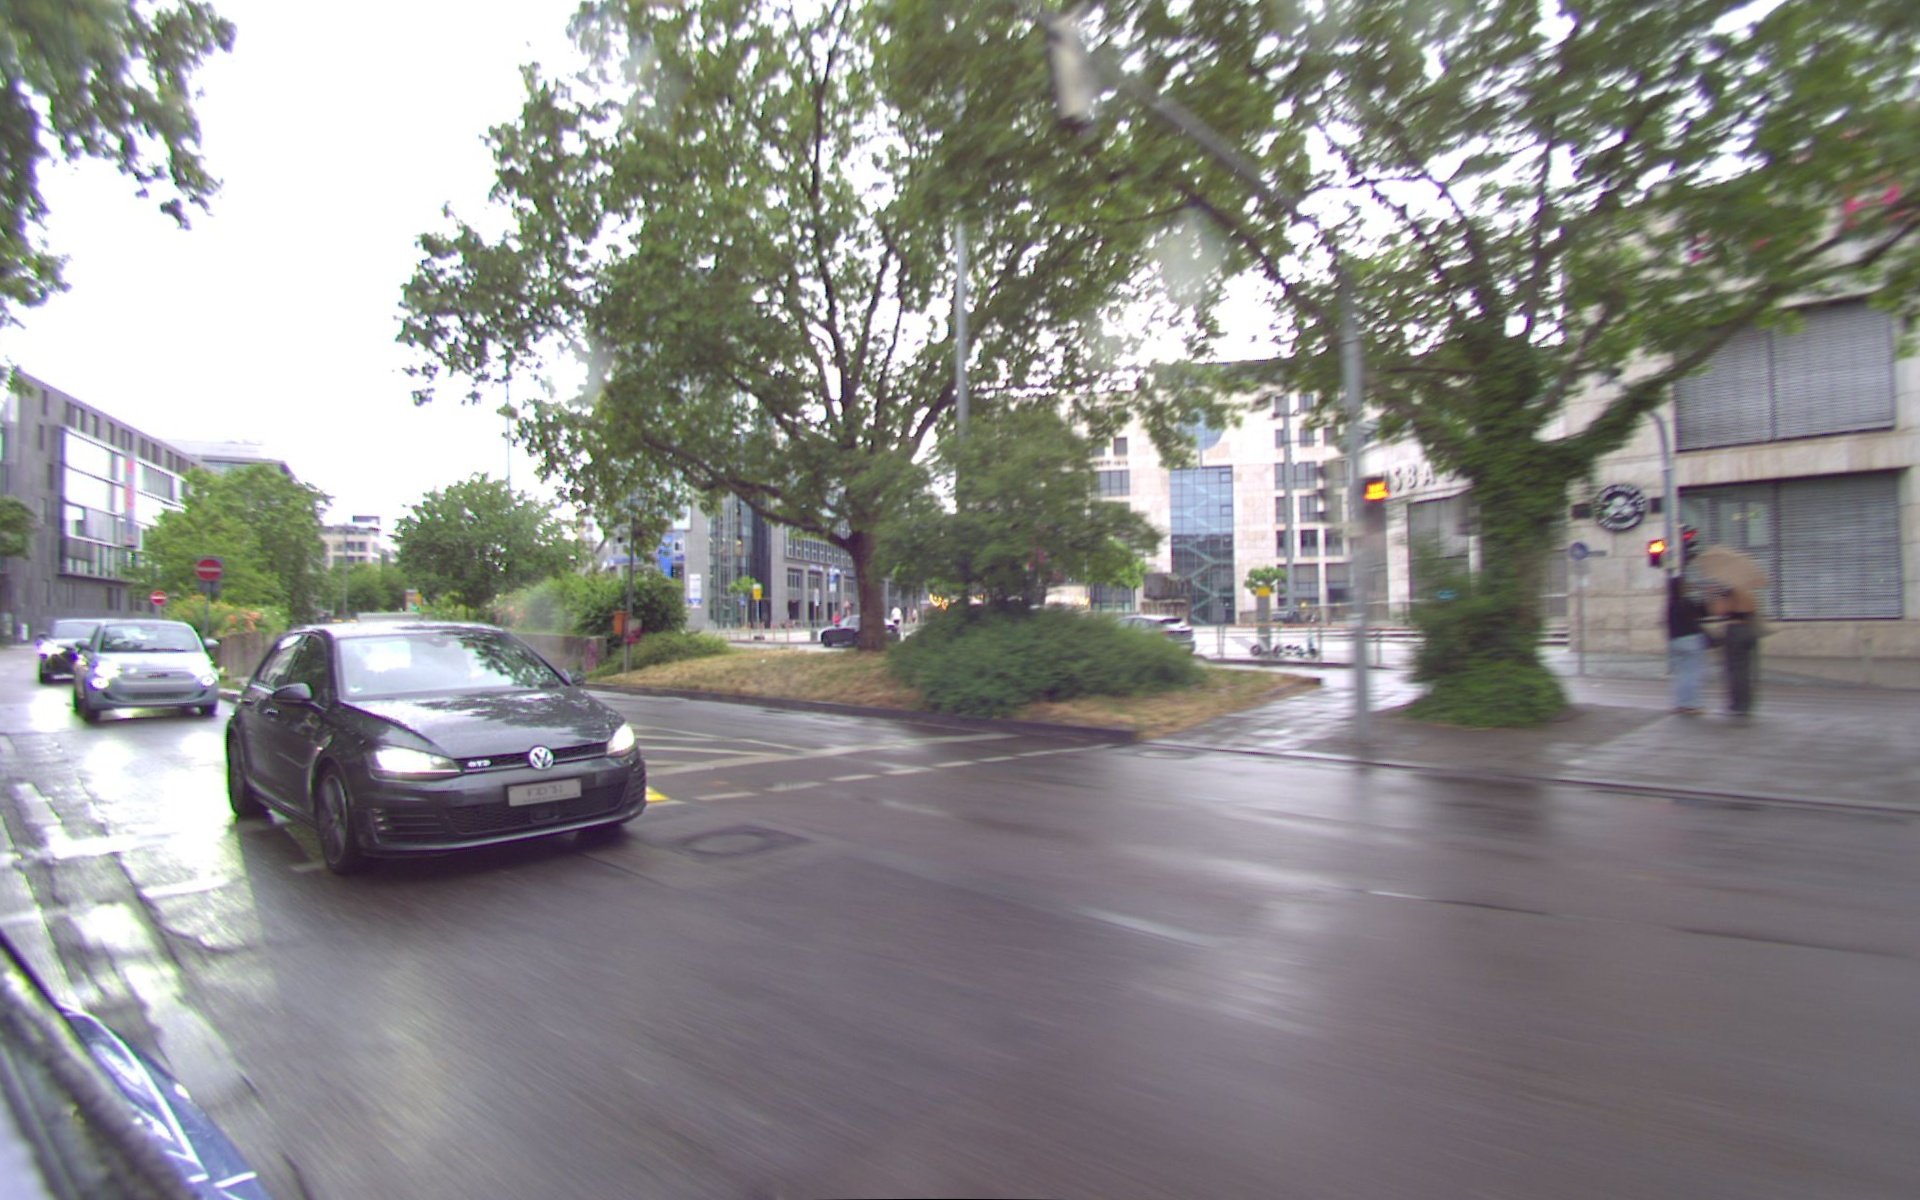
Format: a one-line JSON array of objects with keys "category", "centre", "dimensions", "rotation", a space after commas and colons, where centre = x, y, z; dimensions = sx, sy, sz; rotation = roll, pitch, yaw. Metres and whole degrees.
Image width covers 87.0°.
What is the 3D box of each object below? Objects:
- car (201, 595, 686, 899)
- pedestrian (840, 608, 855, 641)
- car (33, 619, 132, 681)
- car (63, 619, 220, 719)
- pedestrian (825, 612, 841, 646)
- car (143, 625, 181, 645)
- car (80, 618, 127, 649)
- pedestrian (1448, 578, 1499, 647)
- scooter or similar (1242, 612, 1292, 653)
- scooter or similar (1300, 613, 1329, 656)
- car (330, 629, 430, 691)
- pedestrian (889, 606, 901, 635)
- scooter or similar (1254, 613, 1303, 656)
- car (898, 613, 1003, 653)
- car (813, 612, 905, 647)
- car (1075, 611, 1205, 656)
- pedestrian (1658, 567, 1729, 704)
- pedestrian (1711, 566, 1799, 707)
[{"category": "car", "centre": [-3.755, 0.745, 6.976], "dimensions": [4.124, 1.463, 1.764], "rotation": [-2, -1, 45]}, {"category": "pedestrian", "centre": [-6.203, 1.361, 55.750], "dimensions": [0.737, 1.803, 0.474], "rotation": [-2, 0, -15]}, {"category": "car", "centre": [-21.993, 1.220, 25.473], "dimensions": [1.690, 1.452, 3.501], "rotation": [2, -2, -38]}, {"category": "car", "centre": [-13.439, 1.056, 16.563], "dimensions": [3.495, 1.452, 1.589], "rotation": [-2, -3, 45]}, {"category": "pedestrian", "centre": [-6.989, 1.580, 55.636], "dimensions": [0.737, 1.803, 0.424], "rotation": [-2, 0, -15]}, {"category": "car", "centre": [-75.090, 3.264, 95.331], "dimensions": [1.965, 1.757, 3.922], "rotation": [-1, -1, -25]}, {"category": "car", "centre": [-50.654, 1.959, 59.906], "dimensions": [1.968, 1.757, 3.917], "rotation": [0, -1, -39]}, {"category": "pedestrian", "centre": [14.693, 0.366, 28.966], "dimensions": [1.125, 1.939, 0.581], "rotation": [-2, 0, 43]}, {"category": "scooter or similar", "centre": [9.429, 0.991, 31.050], "dimensions": [1.405, 1.195, 0.583], "rotation": [-2, 0, -25]}, {"category": "scooter or similar", "centre": [10.086, 0.960, 28.819], "dimensions": [0.437, 1.134, 1.609], "rotation": [-2, 0, 8]}, {"category": "car", "centre": [-17.116, 1.698, 29.808], "dimensions": [1.755, 1.608, 4.005], "rotation": [0, 0, -42]}, {"category": "pedestrian", "centre": [-3.814, 1.185, 59.023], "dimensions": [0.569, 1.639, 0.564], "rotation": [0, -1, -18]}, {"category": "scooter or similar", "centre": [9.421, 0.997, 29.888], "dimensions": [1.406, 1.195, 0.583], "rotation": [-2, 0, -33]}, {"category": "car", "centre": [-0.444, 1.316, 41.631], "dimensions": [1.981, 1.545, 4.444], "rotation": [0, -1, -39]}, {"category": "car", "centre": [-4.740, 1.321, 46.828], "dimensions": [1.981, 1.545, 4.719], "rotation": [0, -1, -39]}, {"category": "car", "centre": [5.879, 1.050, 33.389], "dimensions": [1.818, 1.392, 4.050], "rotation": [0, -1, -38]}, {"category": "pedestrian", "centre": [8.968, 0.428, 12.391], "dimensions": [0.419, 1.626, 0.554], "rotation": [-2, -1, 3]}, {"category": "pedestrian", "centre": [9.427, 0.427, 12.011], "dimensions": [0.635, 1.626, 0.446], "rotation": [-2, -1, 13]}]
